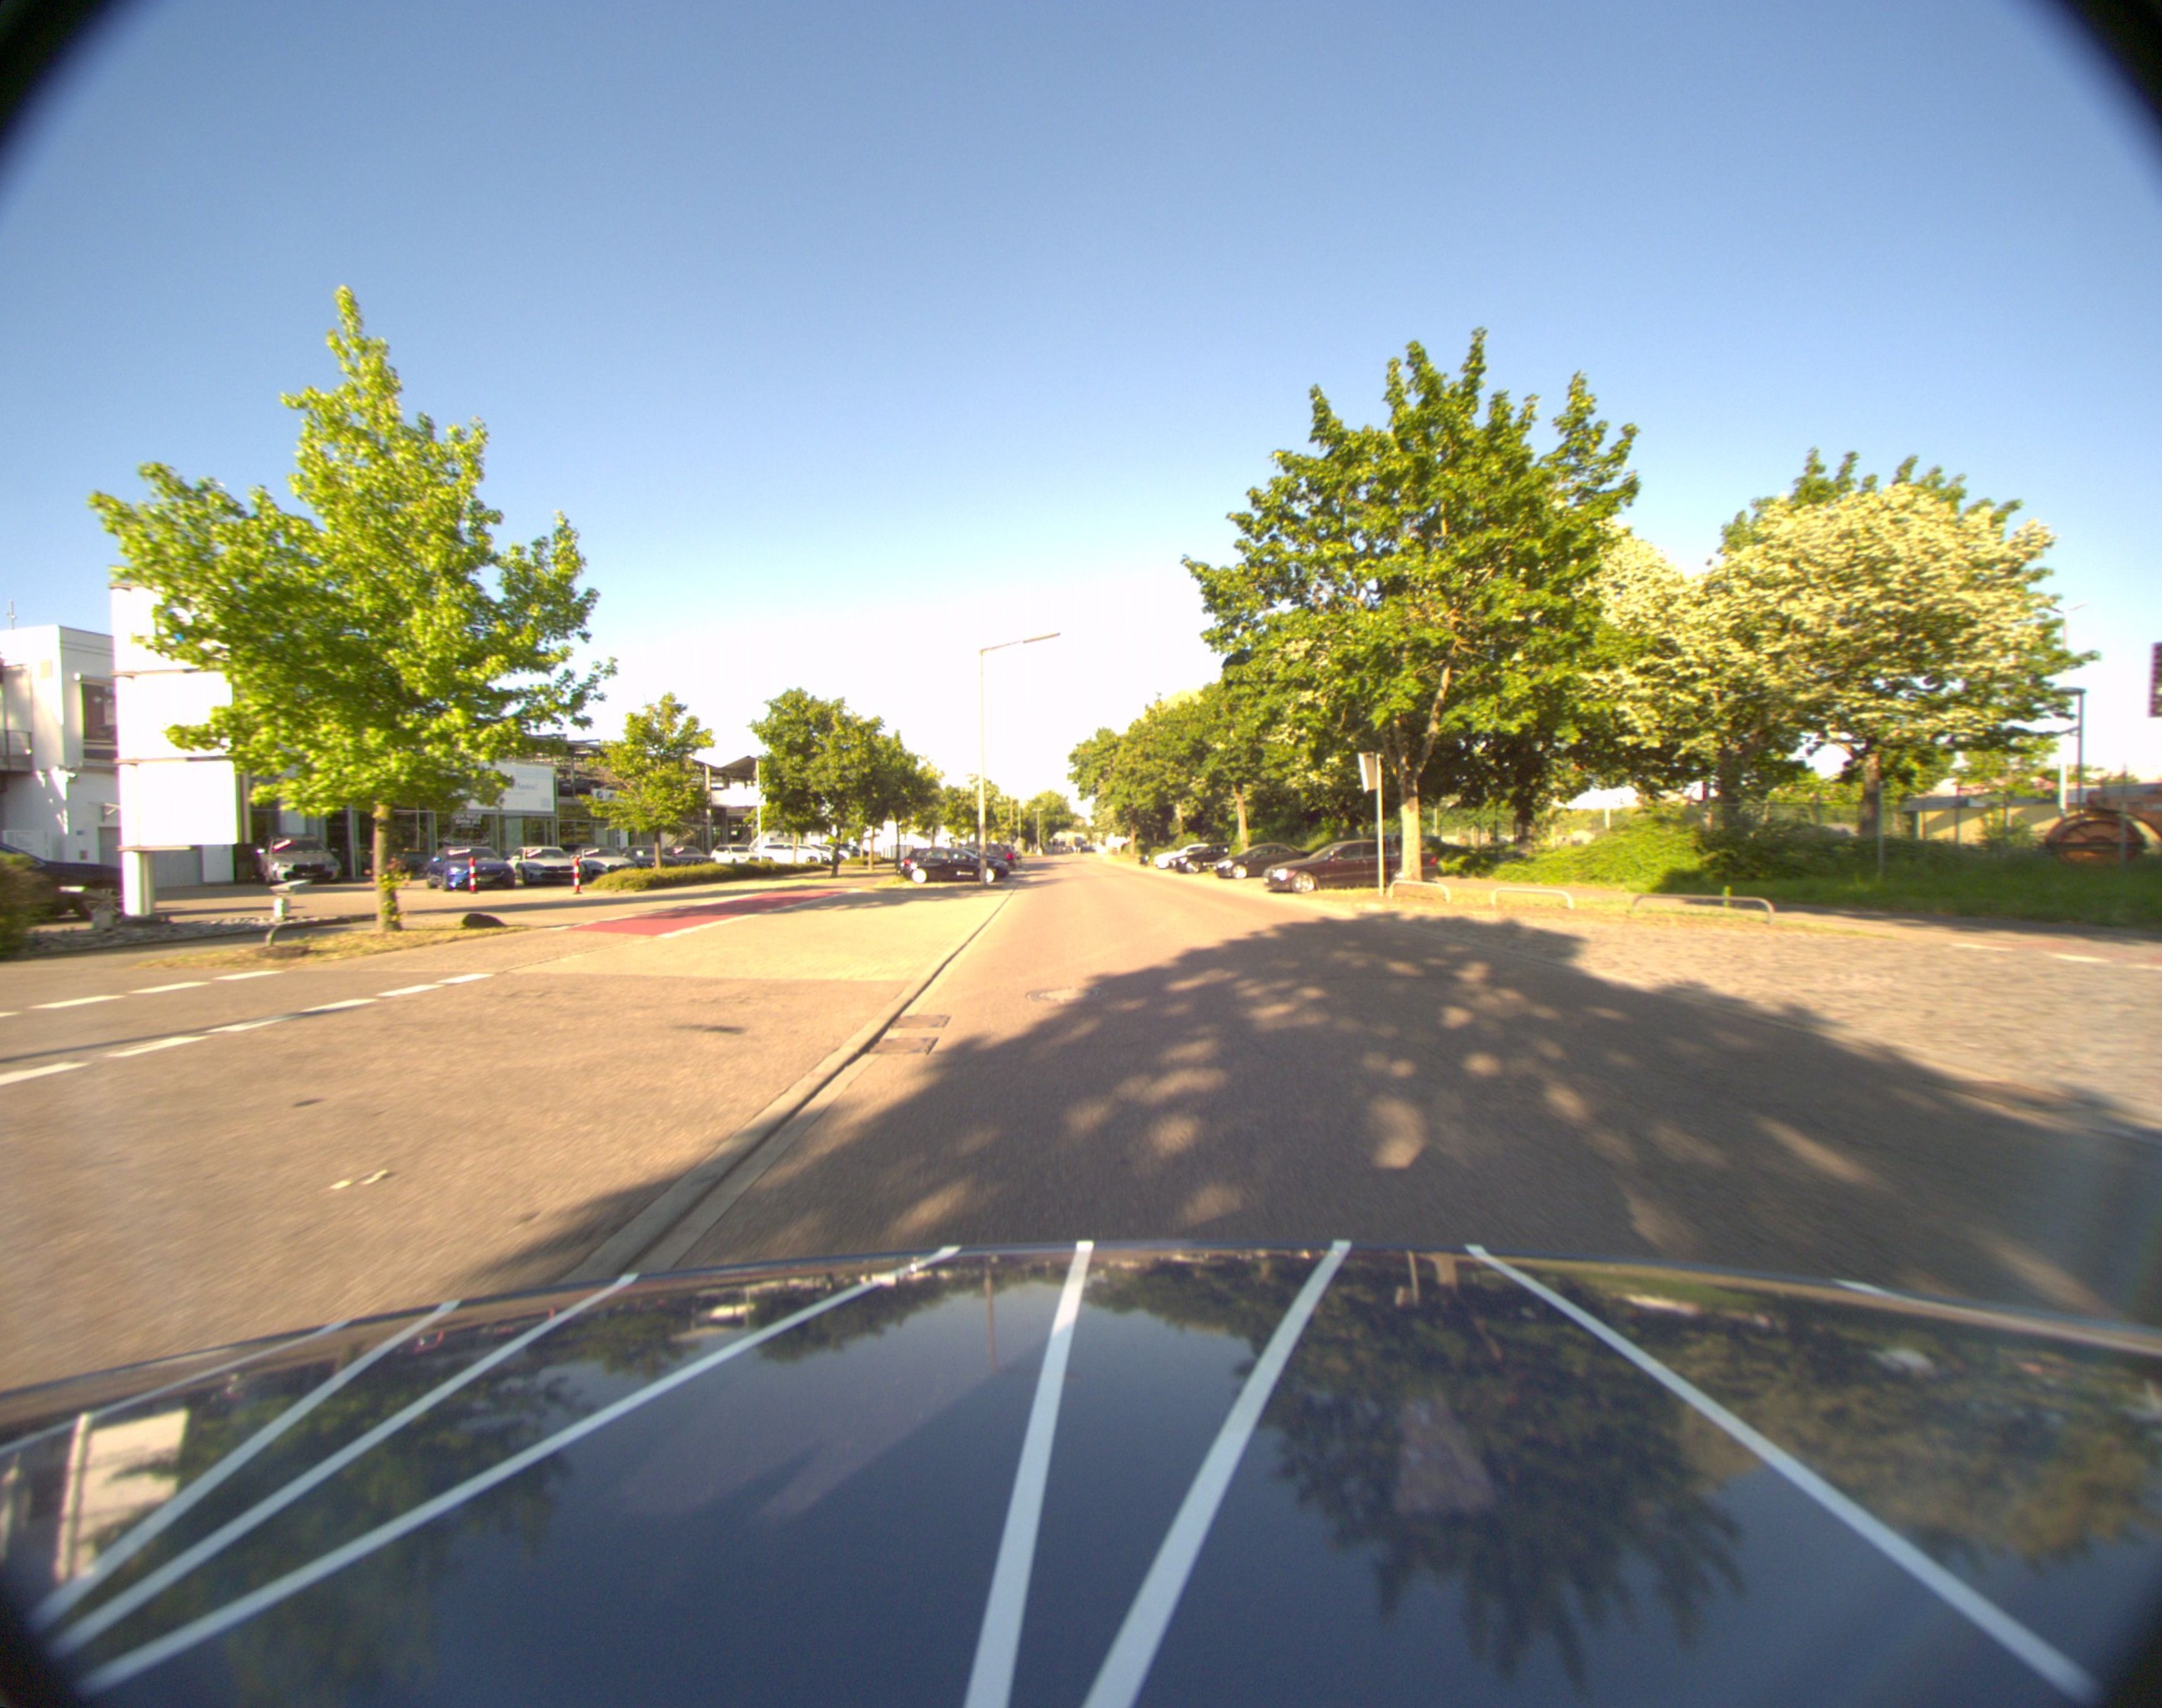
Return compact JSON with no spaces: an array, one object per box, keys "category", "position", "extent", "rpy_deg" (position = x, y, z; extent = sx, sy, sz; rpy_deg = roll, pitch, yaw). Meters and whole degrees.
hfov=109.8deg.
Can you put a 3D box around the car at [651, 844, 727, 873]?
[{"category":"car","position":[-21.025,0.199,40.677],"extent":[4.775,1.455,2.004],"rpy_deg":[0,1,42]}]

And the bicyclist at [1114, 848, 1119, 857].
[{"category":"bicyclist","position":[5.897,-0.253,125.128],"extent":[0.733,1.521,0.951],"rpy_deg":[-2,1,-3]}]

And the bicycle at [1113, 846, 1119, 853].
[{"category":"bicycle","position":[5.737,-0.746,124.588],"extent":[0.768,1.033,2.216],"rpy_deg":[-1,1,-4]}]

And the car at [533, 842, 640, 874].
[{"category":"car","position":[-28.561,0.208,44.059],"extent":[4.794,1.764,1.996],"rpy_deg":[-1,1,-20]}]

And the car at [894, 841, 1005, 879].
[{"category":"car","position":[-5.697,0.241,33.369],"extent":[4.493,1.541,2.033],"rpy_deg":[-1,1,-2]}]

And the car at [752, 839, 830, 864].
[{"category":"car","position":[-20.297,-0.182,53.202],"extent":[4.737,1.681,2.405],"rpy_deg":[0,1,-30]}]

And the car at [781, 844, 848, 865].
[{"category":"car","position":[-20.642,0.016,58.913],"extent":[4.612,1.565,1.995],"rpy_deg":[-1,1,-30]}]

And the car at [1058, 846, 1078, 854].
[{"category":"car","position":[-3.529,-1.071,205.876],"extent":[4.833,2.002,2.304],"rpy_deg":[0,1,36]}]

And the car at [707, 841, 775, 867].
[{"category":"car","position":[-21.522,-0.039,47.963],"extent":[5.176,1.562,2.004],"rpy_deg":[0,1,42]}]

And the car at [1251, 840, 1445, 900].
[{"category":"car","position":[7.866,0.429,22.665],"extent":[5.049,1.454,1.999],"rpy_deg":[-3,1,-3]}]

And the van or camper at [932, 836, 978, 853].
[{"category":"van or camper","position":[-22.848,-1.734,137.242],"extent":[7.990,2.883,2.948],"rpy_deg":[0,1,28]}]

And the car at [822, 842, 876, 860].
[{"category":"car","position":[-21.869,-0.299,71.647],"extent":[4.612,1.657,1.995],"rpy_deg":[0,1,-29]}]

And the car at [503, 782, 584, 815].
[{"category":"car","position":[-33.822,-3.461,47.840],"extent":[3.994,1.656,1.788],"rpy_deg":[-3,0,9]}]

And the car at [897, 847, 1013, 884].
[{"category":"car","position":[-5.070,0.453,31.119],"extent":[4.494,1.396,2.033],"rpy_deg":[-1,1,-4]}]

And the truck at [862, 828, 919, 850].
[{"category":"truck","position":[-32.714,-2.539,130.424],"extent":[10.091,3.623,3.302],"rpy_deg":[0,1,32]}]

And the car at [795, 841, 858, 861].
[{"category":"car","position":[-20.871,-0.231,62.299],"extent":[4.613,1.565,1.995],"rpy_deg":[0,1,-30]}]

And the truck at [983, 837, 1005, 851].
[{"category":"truck","position":[-17.782,-2.060,155.640],"extent":[2.542,2.704,5.977],"rpy_deg":[-1,1,13]}]

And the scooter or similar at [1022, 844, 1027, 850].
[{"category":"scooter or similar","position":[-10.872,-1.310,147.104],"extent":[0.547,1.190,1.483],"rpy_deg":[0,1,11]}]

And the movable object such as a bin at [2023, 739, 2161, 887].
[{"category":"movable object such as a bin","position":[20.672,-0.754,13.581],"extent":[2.169,2.649,4.791],"rpy_deg":[-2,1,-39]}]

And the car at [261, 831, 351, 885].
[{"category":"car","position":[-31.226,0.149,30.578],"extent":[4.170,2.002,2.004],"rpy_deg":[0,1,38]}]

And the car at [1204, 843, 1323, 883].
[{"category":"car","position":[7.723,0.369,32.466],"extent":[4.492,1.454,1.999],"rpy_deg":[-3,1,-3]}]

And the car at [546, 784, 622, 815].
[{"category":"car","position":[-32.862,-3.595,50.300],"extent":[3.994,1.656,1.788],"rpy_deg":[-3,0,9]}]

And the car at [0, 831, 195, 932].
[{"category":"car","position":[-20.494,0.504,14.011],"extent":[2.034,1.817,4.980],"rpy_deg":[-1,1,13]}]

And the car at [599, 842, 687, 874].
[{"category":"car","position":[-21.163,0.181,36.632],"extent":[4.775,1.455,2.004],"rpy_deg":[0,1,38]}]

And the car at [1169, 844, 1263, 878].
[{"category":"car","position":[7.029,0.330,39.888],"extent":[4.492,1.522,1.999],"rpy_deg":[-3,1,-3]}]

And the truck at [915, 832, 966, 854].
[{"category":"truck","position":[-23.252,-1.816,125.600],"extent":[8.230,3.502,3.121],"rpy_deg":[0,1,33]}]

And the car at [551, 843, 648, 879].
[{"category":"car","position":[-20.830,0.274,32.810],"extent":[4.775,1.455,2.004],"rpy_deg":[0,1,38]}]

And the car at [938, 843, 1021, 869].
[{"category":"car","position":[-5.903,0.127,44.660],"extent":[4.708,1.471,1.999],"rpy_deg":[1,1,-4]}]

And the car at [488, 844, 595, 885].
[{"category":"car","position":[-20.690,0.365,29.066],"extent":[4.775,1.455,2.051],"rpy_deg":[0,0,38]}]

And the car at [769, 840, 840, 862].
[{"category":"car","position":[-20.371,-0.248,56.045],"extent":[4.613,1.565,1.995],"rpy_deg":[0,1,-30]}]

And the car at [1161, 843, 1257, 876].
[{"category":"car","position":[7.112,0.285,42.561],"extent":[4.864,1.522,1.999],"rpy_deg":[-3,1,-7]}]

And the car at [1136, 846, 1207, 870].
[{"category":"car","position":[6.324,0.252,53.379],"extent":[4.663,1.413,1.915],"rpy_deg":[-3,1,-6]}]

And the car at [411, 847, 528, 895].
[{"category":"car","position":[-20.684,0.514,25.630],"extent":[4.775,1.455,2.004],"rpy_deg":[0,1,38]}]

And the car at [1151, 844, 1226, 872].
[{"category":"car","position":[6.685,0.244,47.691],"extent":[4.298,1.522,1.999],"rpy_deg":[-3,1,-2]}]

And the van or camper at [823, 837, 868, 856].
[{"category":"van or camper","position":[-42.551,-1.381,137.205],"extent":[8.118,3.310,2.418],"rpy_deg":[0,1,23]}]

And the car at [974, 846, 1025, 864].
[{"category":"car","position":[-7.524,0.097,70.425],"extent":[4.604,1.575,1.998],"rpy_deg":[-1,1,-7]}]

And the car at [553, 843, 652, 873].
[{"category":"car","position":[-29.453,0.208,46.920],"extent":[4.794,1.764,1.996],"rpy_deg":[-1,1,-20]}]

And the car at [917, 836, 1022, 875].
[{"category":"car","position":[-5.308,0.062,36.795],"extent":[4.706,1.741,2.191],"rpy_deg":[-1,1,1]}]
